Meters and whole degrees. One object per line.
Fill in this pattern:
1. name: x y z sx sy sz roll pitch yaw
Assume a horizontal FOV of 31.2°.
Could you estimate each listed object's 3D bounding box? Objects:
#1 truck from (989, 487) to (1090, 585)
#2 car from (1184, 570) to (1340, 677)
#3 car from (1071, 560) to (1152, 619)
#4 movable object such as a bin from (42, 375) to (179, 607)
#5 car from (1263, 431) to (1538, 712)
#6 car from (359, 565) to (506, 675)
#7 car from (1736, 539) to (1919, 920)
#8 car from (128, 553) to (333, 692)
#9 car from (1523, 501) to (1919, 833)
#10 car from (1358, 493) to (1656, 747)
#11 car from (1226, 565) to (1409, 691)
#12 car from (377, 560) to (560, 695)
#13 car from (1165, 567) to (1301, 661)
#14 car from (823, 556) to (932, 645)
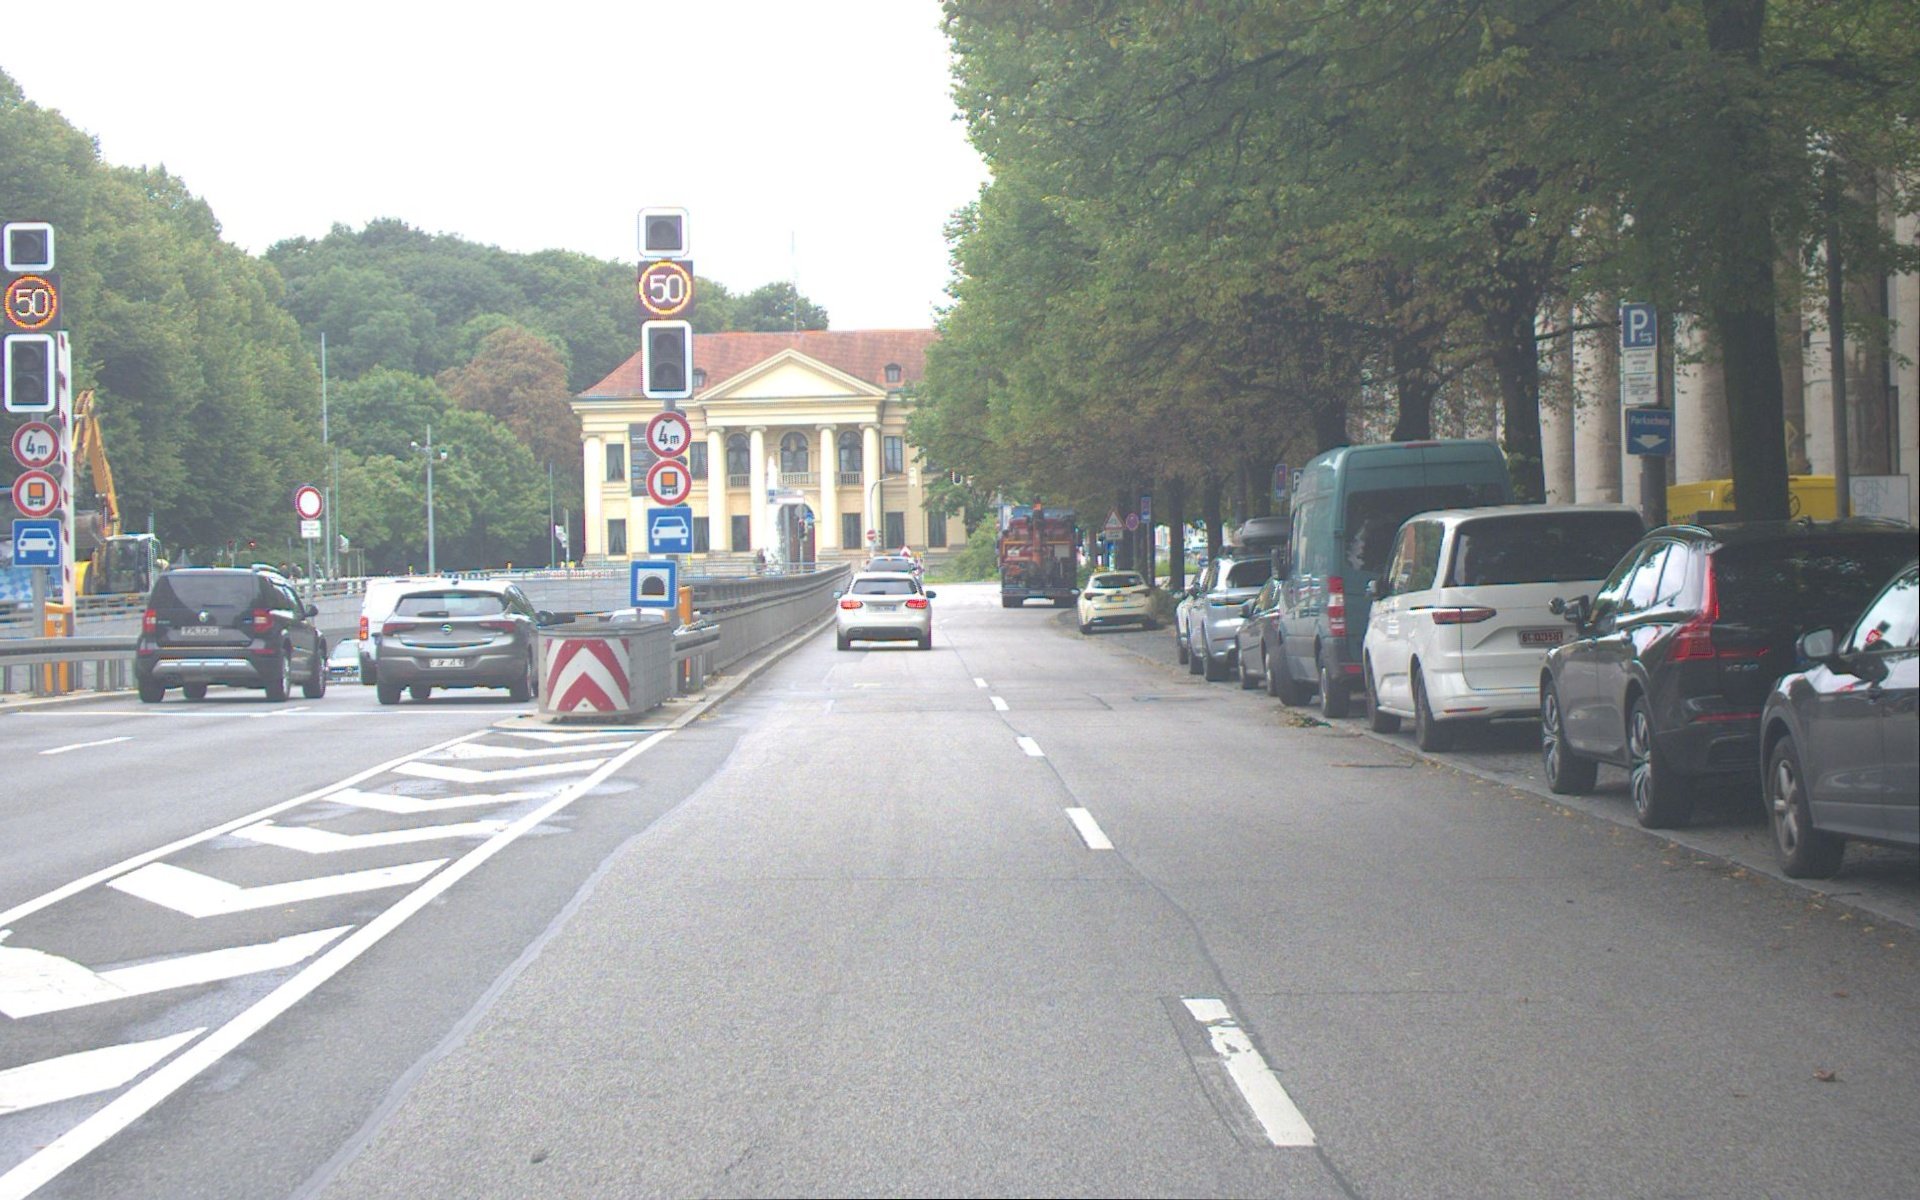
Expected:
1. truck: 2.758 -2.249 122.291 3.325 3.355 8.663 0 1 -1
2. car: 4.038 0.287 46.509 1.724 1.319 4.028 -2 1 0
3. car: 3.567 -0.268 81.421 1.724 1.319 4.028 -2 1 0
4. movable object such as a bin: -24.347 -3.088 98.729 2.699 6.488 5.176 0 1 -1
5. car: 4.363 -0.302 34.800 1.993 2.634 4.878 0 1 -2
6. car: -9.302 0.316 60.996 1.898 1.841 4.956 -1 1 -1
7. car: 4.586 0.465 14.185 1.822 1.459 4.028 -2 1 0
8. car: -9.092 0.250 43.165 1.722 1.631 4.205 -1 1 -1
9. car: 4.513 0.308 19.886 1.724 1.659 4.590 -2 1 0
10. car: 4.334 0.126 27.788 1.724 1.861 4.028 -2 1 0
11. car: 4.204 0.295 40.921 1.724 1.359 4.028 -2 1 0
12. car: -5.905 0.295 41.686 1.710 1.546 4.000 0 1 -1
13. car: 4.122 0.183 52.393 1.724 1.319 4.028 -2 1 0
14. car: -1.597 -0.020 65.415 1.779 1.639 4.001 0 1 -6
